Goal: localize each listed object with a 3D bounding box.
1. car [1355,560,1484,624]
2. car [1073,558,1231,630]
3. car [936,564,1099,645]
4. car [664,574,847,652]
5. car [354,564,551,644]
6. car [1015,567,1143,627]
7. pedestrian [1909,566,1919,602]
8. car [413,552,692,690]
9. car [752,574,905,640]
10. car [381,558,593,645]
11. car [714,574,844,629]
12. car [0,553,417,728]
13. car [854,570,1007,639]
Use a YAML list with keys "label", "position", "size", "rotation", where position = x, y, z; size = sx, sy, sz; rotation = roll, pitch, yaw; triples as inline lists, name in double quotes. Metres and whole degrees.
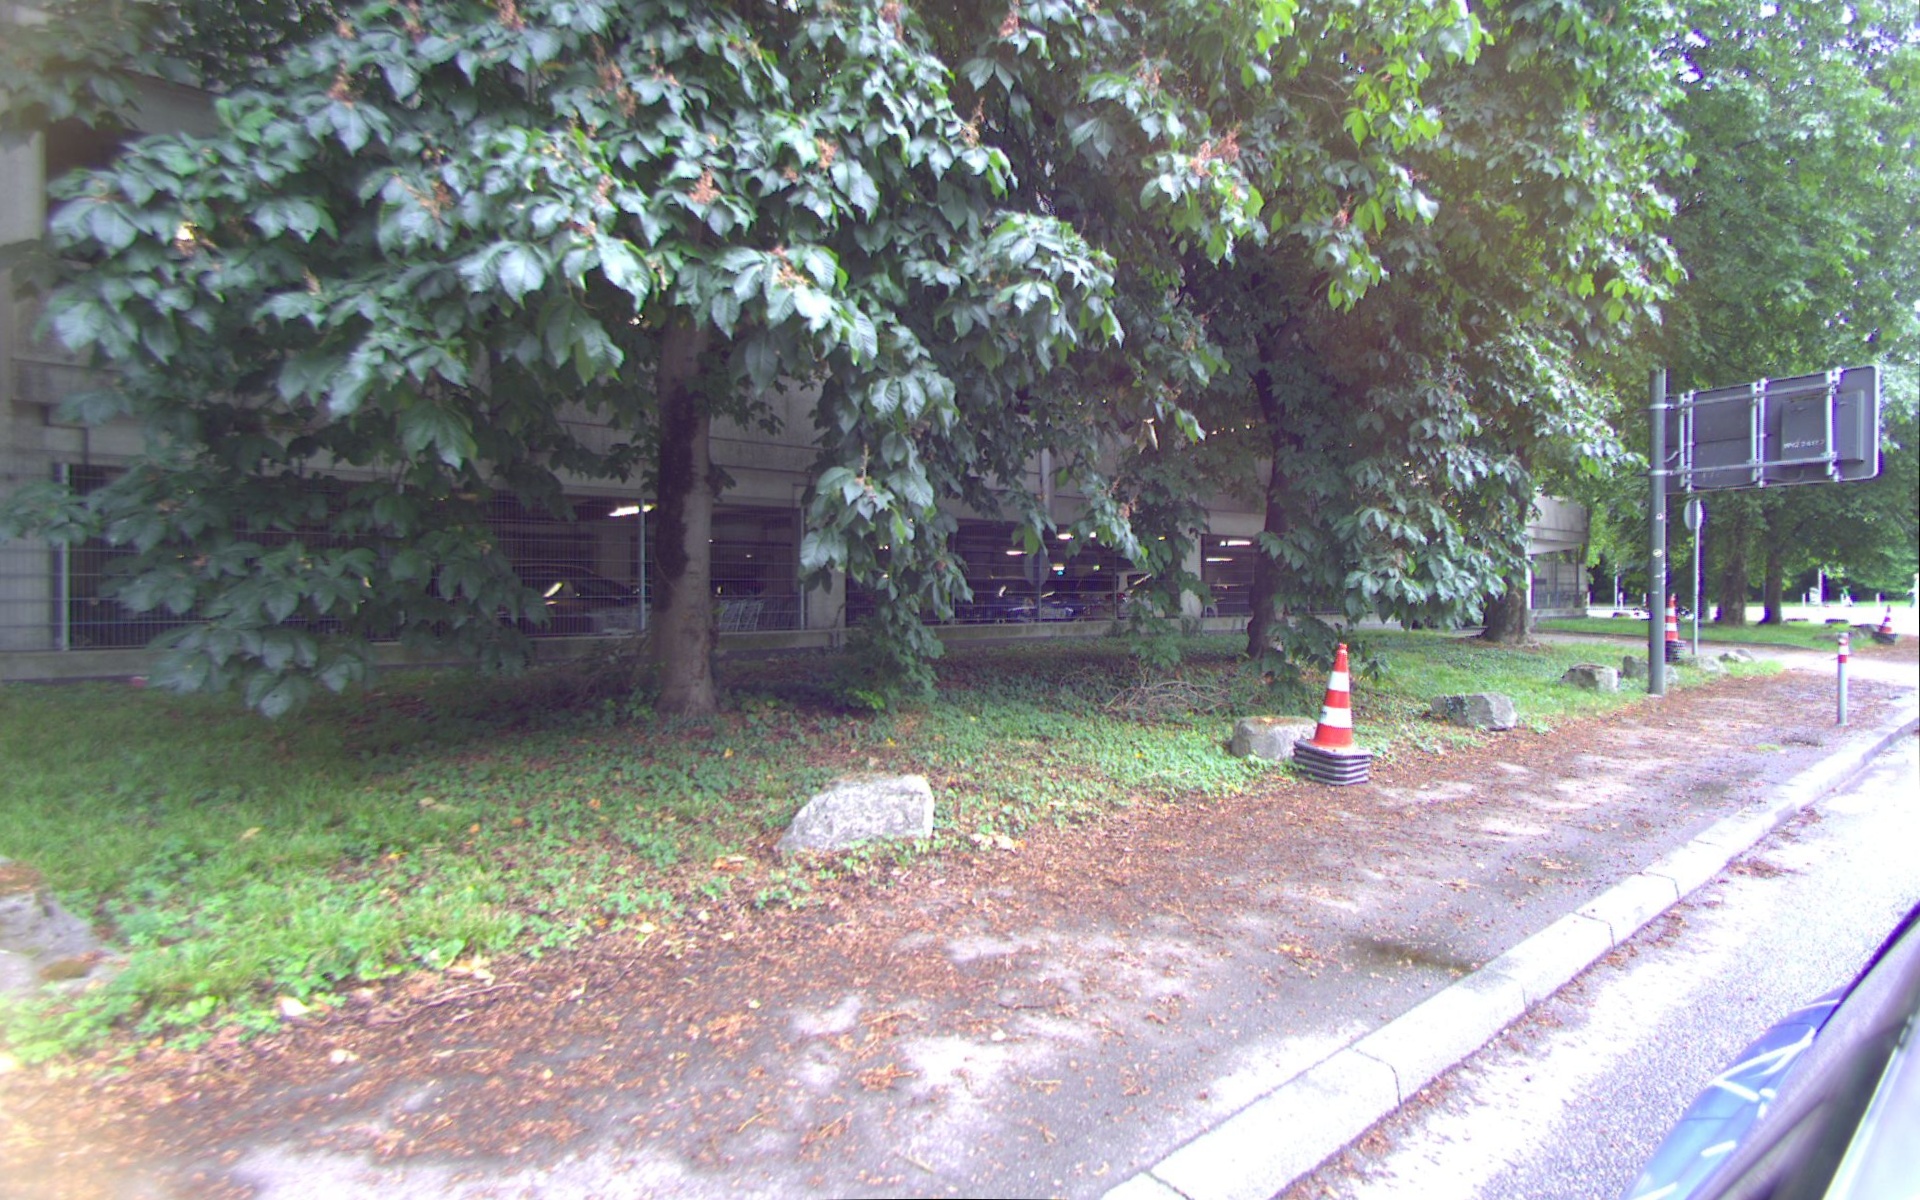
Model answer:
- label: "car"
  position: [14.407, -0.268, 31.622]
  size: [4.653, 1.858, 1.922]
  rotation: [-1, 0, -41]
- label: "car"
  position: [5.161, -0.203, 26.879]
  size: [4.587, 1.730, 1.588]
  rotation: [-2, 1, -41]
- label: "car"
  position: [1.412, 0.053, 23.894]
  size: [3.791, 1.730, 1.588]
  rotation: [-2, 1, -41]
- label: "car"
  position: [-4.539, 0.244, 22.736]
  size: [3.639, 1.565, 1.718]
  rotation: [-2, 1, -42]
- label: "car"
  position: [-11.408, 0.042, 22.873]
  size: [3.639, 1.627, 1.718]
  rotation: [-2, 1, -42]
- label: "car"
  position: [3.485, -0.122, 29.430]
  size: [3.629, 1.606, 1.718]
  rotation: [-2, 1, -42]
- label: "pedestrian"
  position: [50.453, -0.845, 52.775]
  size: [0.911, 1.856, 1.201]
  rotation: [-3, 1, -37]
- label: "car"
  position: [-6.825, 0.262, 17.119]
  size: [3.930, 2.039, 1.997]
  rotation: [-2, 1, -40]
- label: "car"
  position: [-3.398, 0.150, 26.578]
  size: [3.639, 1.565, 1.718]
  rotation: [-2, 1, -42]
- label: "car"
  position: [-9.765, -0.006, 21.021]
  size: [3.639, 1.627, 1.718]
  rotation: [-2, 1, -42]
- label: "car"
  position: [-5.662, 0.016, 31.896]
  size: [3.638, 1.565, 1.719]
  rotation: [-2, 1, -41]
- label: "car"
  position: [-10.287, 0.417, 13.935]
  size: [4.594, 2.039, 1.996]
  rotation: [-2, 1, -41]
- label: "car"
  position: [-0.711, 0.079, 25.833]
  size: [3.639, 1.565, 1.718]
  rotation: [-2, 1, -42]
